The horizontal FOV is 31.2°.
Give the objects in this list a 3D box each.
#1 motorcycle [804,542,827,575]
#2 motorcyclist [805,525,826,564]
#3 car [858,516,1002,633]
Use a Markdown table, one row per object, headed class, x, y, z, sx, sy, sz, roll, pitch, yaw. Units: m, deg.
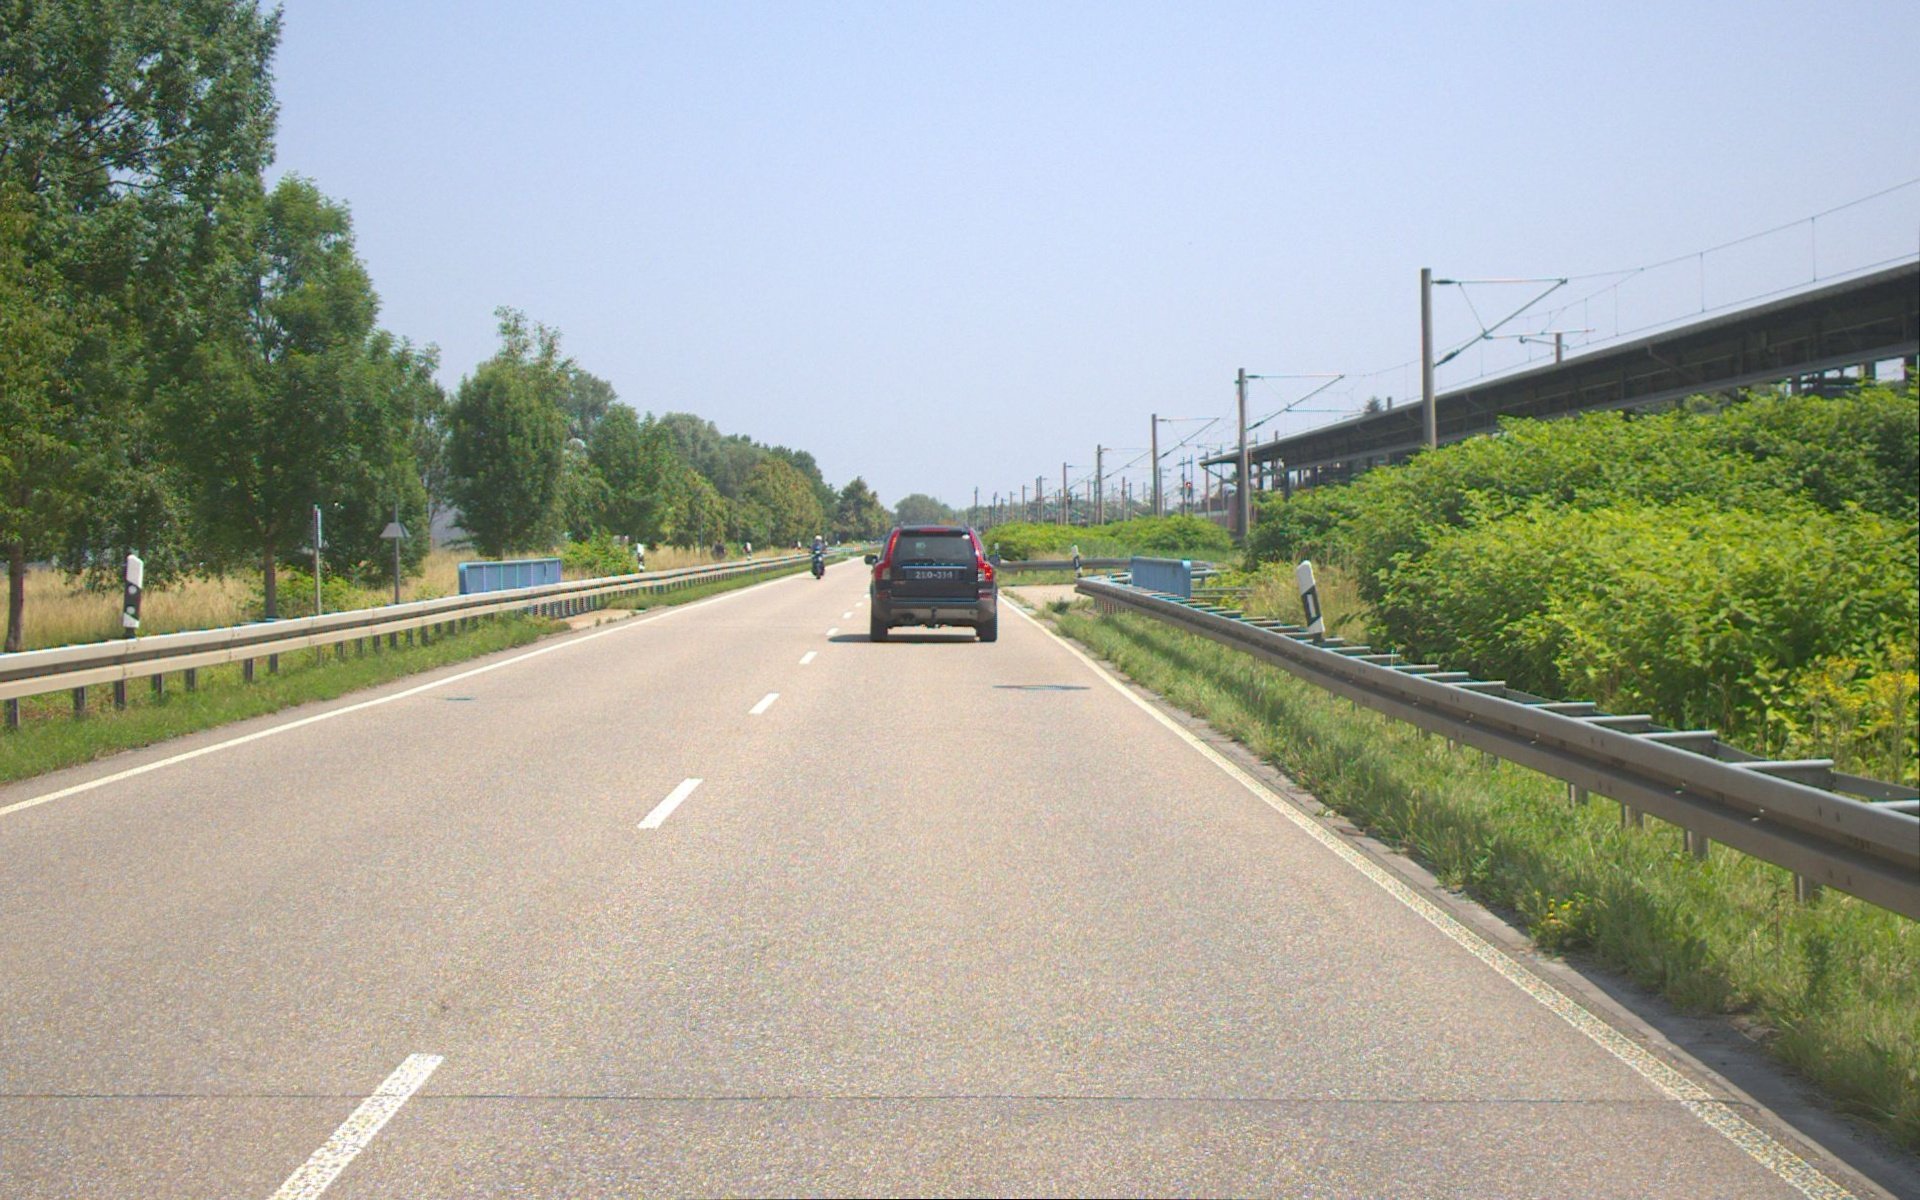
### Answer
| class | x | y | z | sx | sy | sz | roll | pitch | yaw |
| --- | --- | --- | --- | --- | --- | --- | --- | --- | --- |
| motorcycle | -5.464 | -1.580 | 130.356 | 0.689 | 1.230 | 2.369 | 1 | 1 | 2 |
| motorcyclist | -5.466 | -2.095 | 130.363 | 0.726 | 1.460 | 0.987 | 0 | 1 | 2 |
| car | -0.491 | -0.409 | 51.639 | 1.993 | 1.694 | 4.001 | 0 | 1 | -3 |
